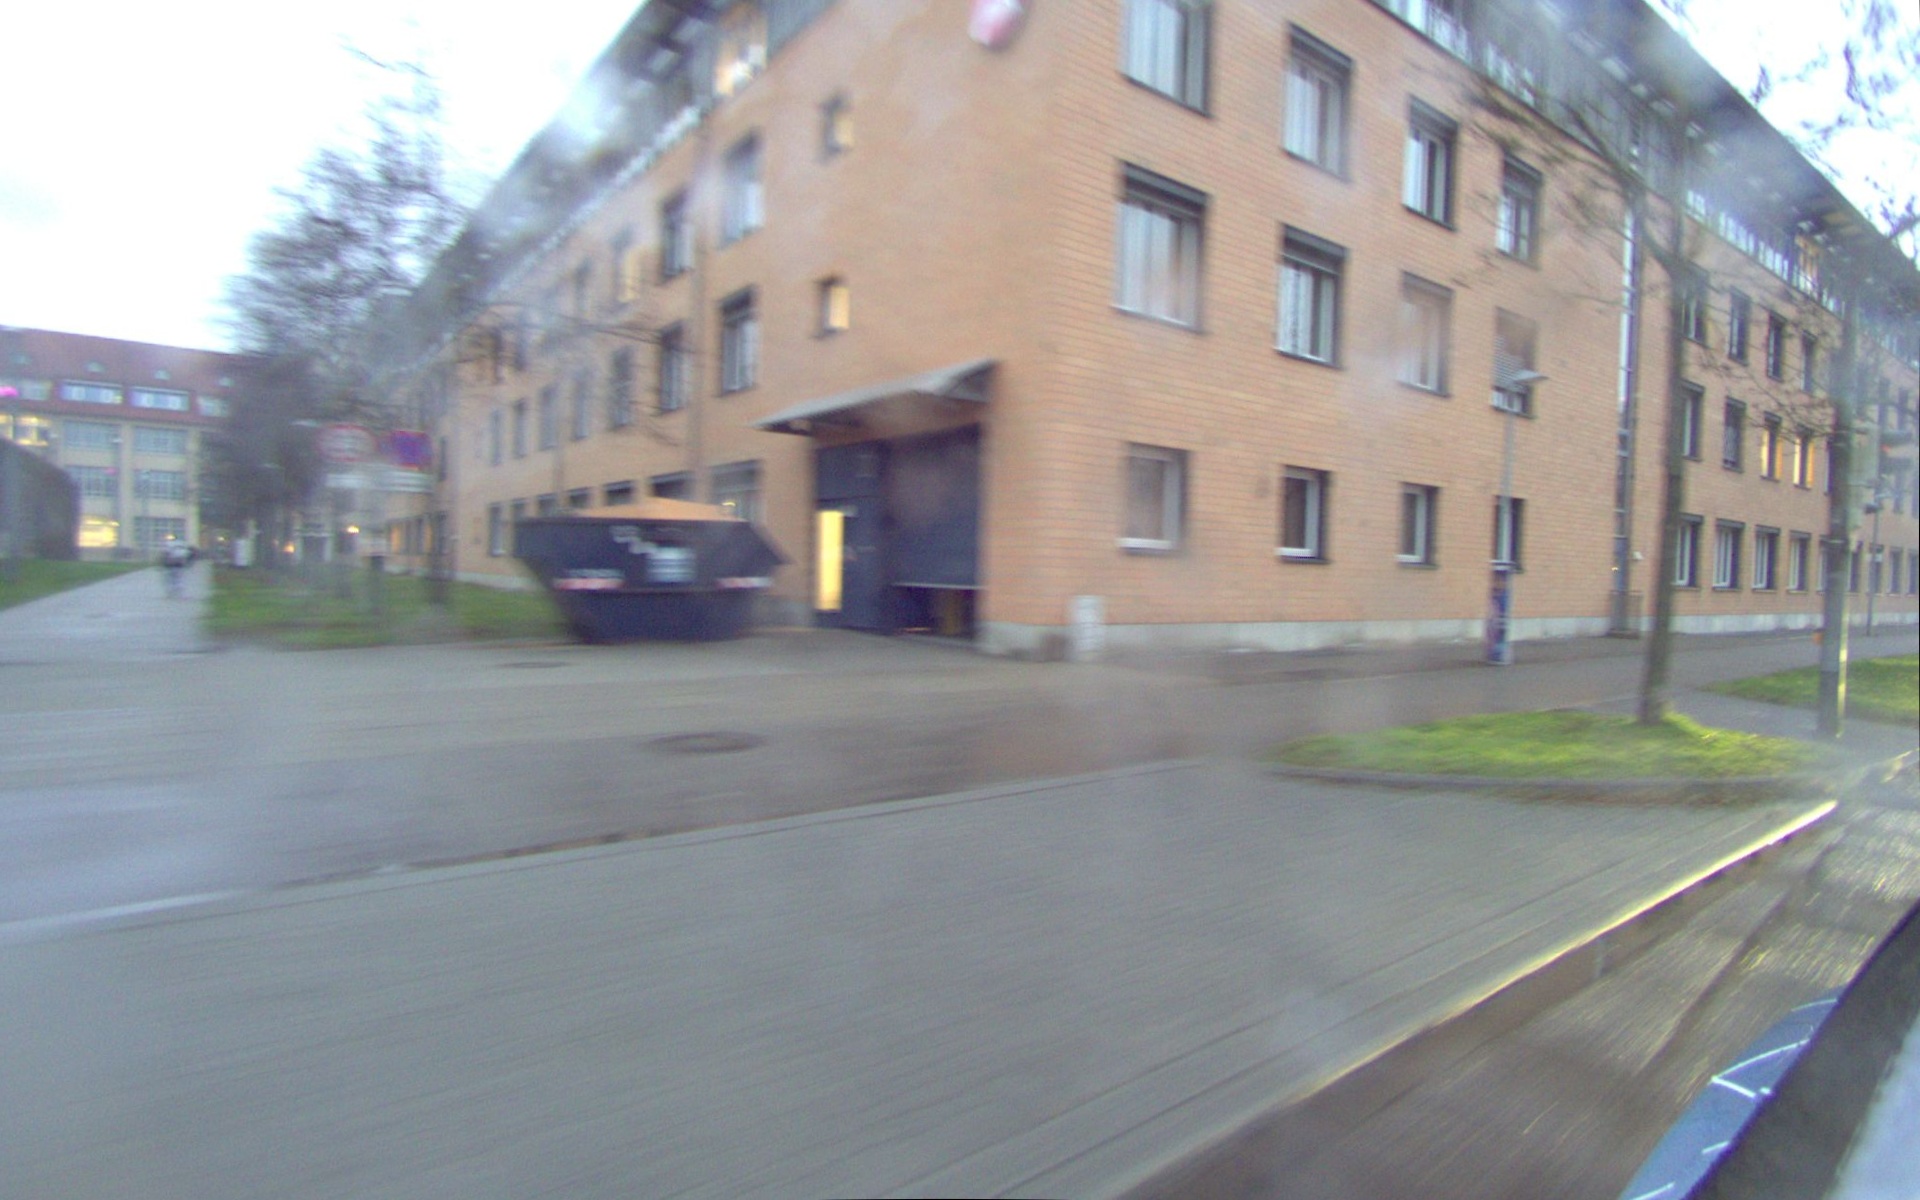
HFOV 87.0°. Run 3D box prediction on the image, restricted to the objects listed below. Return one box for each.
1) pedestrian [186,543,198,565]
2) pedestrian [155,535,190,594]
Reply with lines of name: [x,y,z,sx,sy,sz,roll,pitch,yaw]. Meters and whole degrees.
pedestrian: [-59.667,-3.557,78.659,0.719,1.656,0.713,0,2,-36]
pedestrian: [-22.418,-1.010,28.824,0.719,1.656,0.713,0,2,-35]
